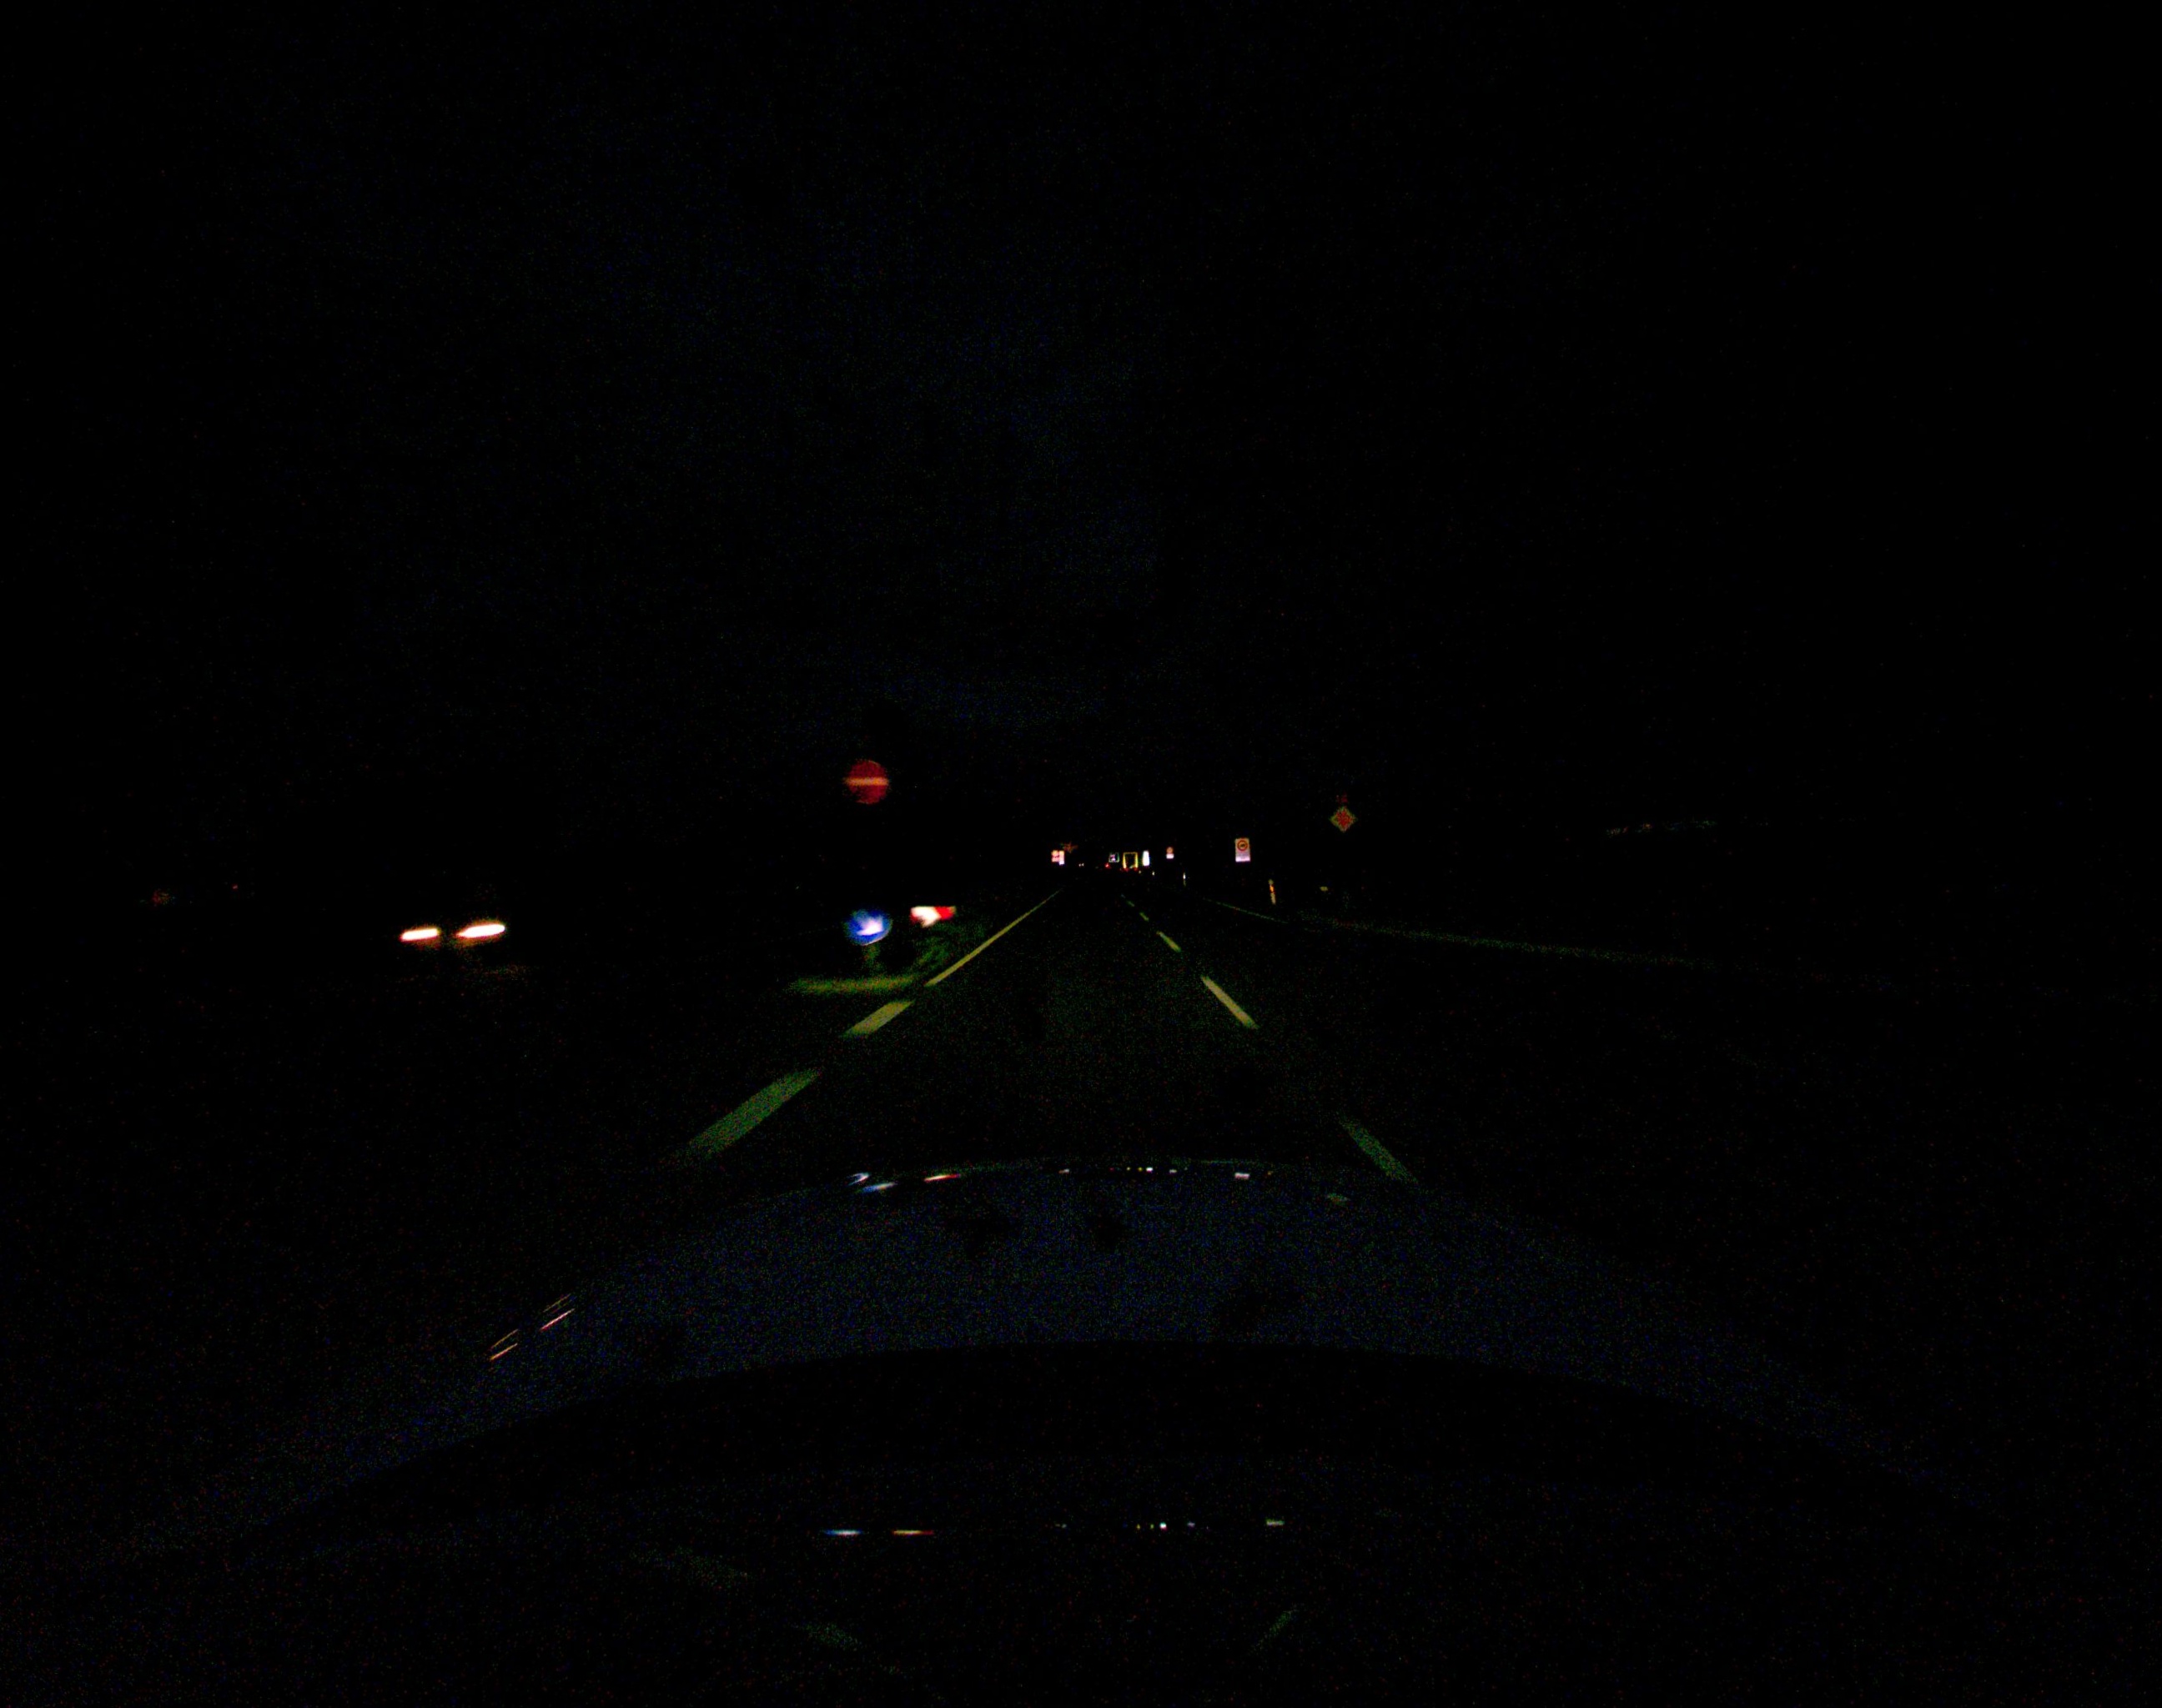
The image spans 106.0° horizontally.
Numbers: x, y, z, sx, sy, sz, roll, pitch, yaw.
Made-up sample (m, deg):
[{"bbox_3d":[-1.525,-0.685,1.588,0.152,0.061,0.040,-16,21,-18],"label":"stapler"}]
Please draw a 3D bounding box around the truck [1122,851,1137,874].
[{"bbox_3d":[8.939,1.566,151.185,2.570,4.071,6.132,0,0,2],"label":"truck"}]

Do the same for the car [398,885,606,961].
[{"bbox_3d":[-12.427,1.420,17.855,1.647,1.384,4.029,0,-1,0],"label":"car"}]

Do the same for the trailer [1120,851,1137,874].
[{"bbox_3d":[9.126,1.675,158.330,2.613,4.104,12.937,-2,-1,1],"label":"trailer"}]
